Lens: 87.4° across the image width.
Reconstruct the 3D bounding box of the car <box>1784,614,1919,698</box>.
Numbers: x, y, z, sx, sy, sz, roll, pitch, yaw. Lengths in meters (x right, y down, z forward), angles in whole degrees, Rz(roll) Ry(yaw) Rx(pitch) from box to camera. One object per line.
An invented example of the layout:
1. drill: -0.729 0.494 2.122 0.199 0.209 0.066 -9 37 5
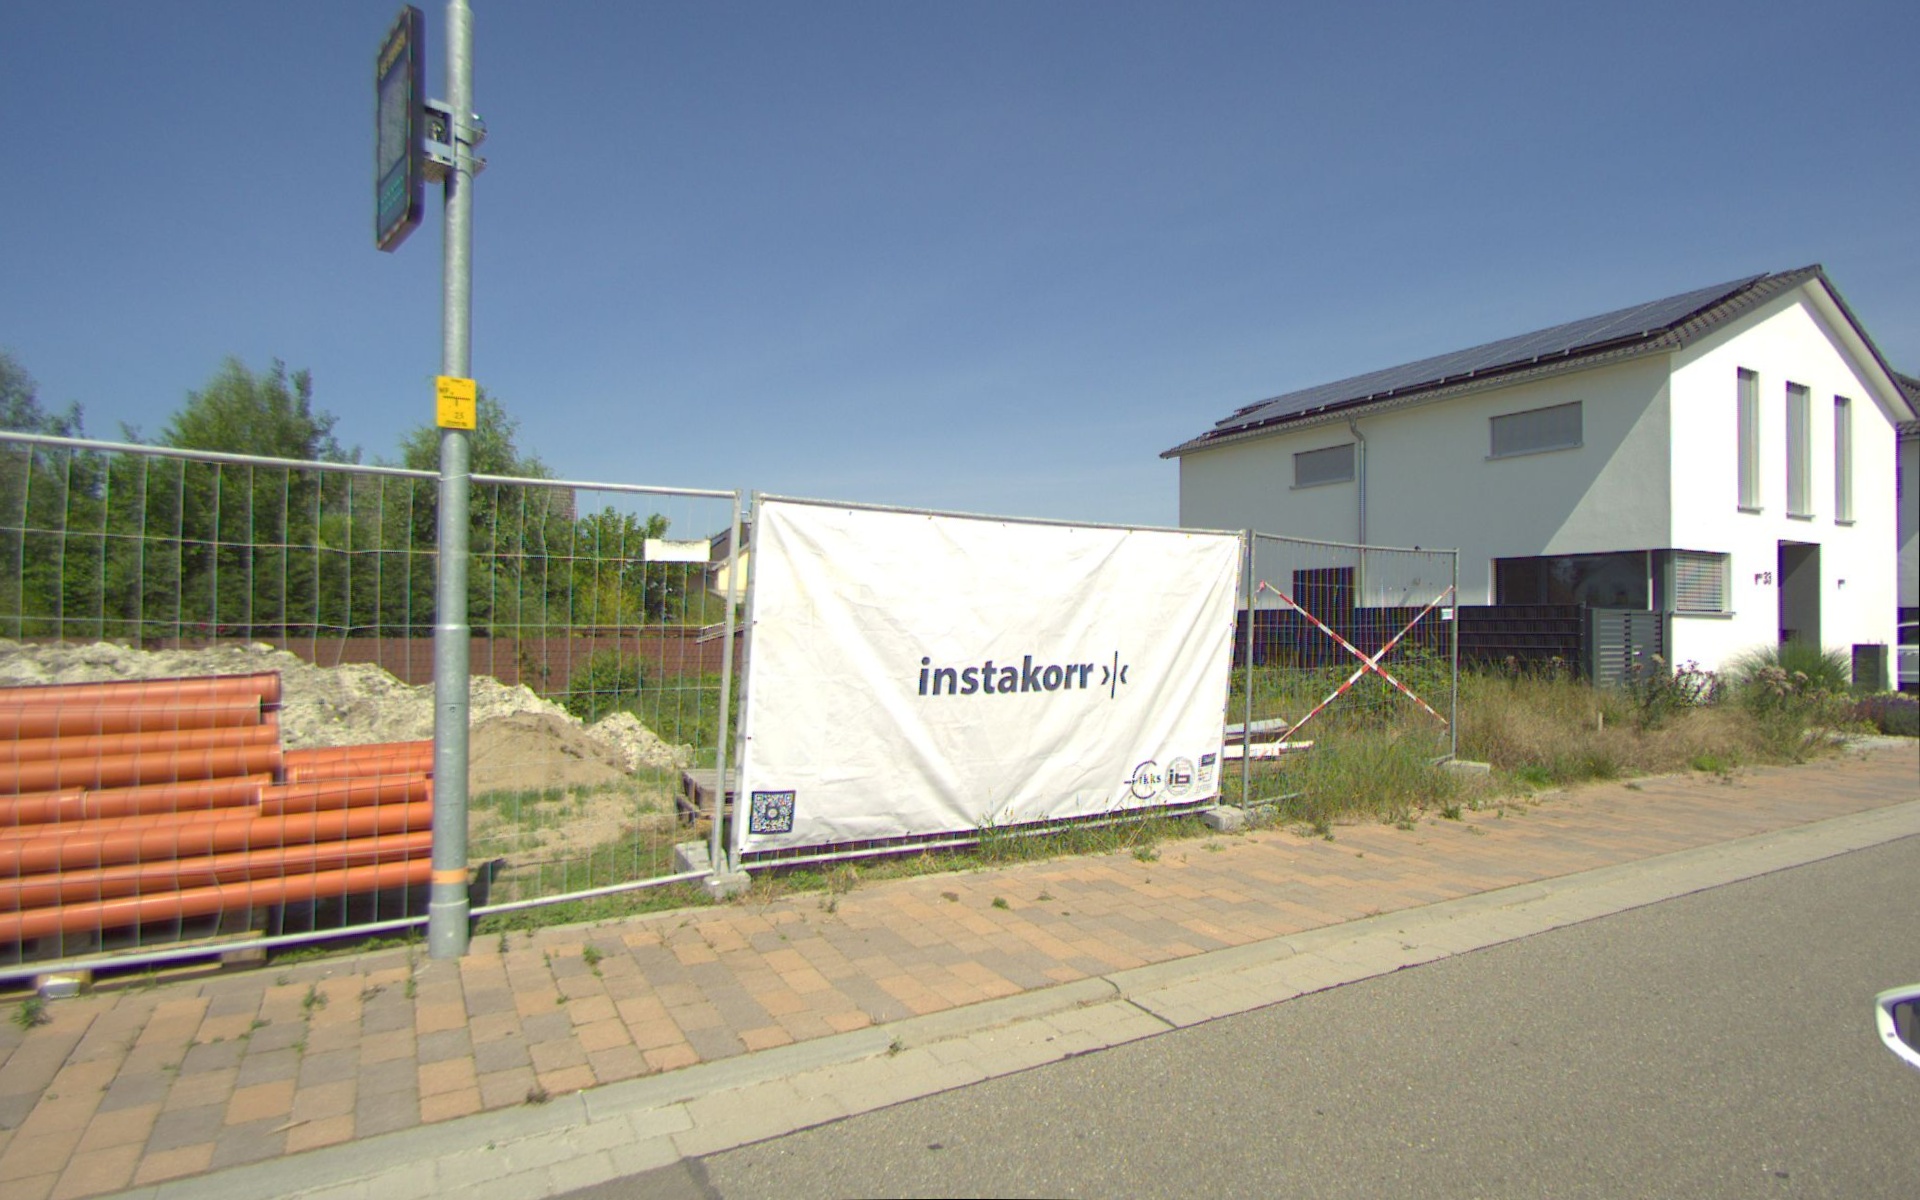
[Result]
1. car: 19.743 1.136 20.608 1.759 1.602 4.057 0 0 -24
